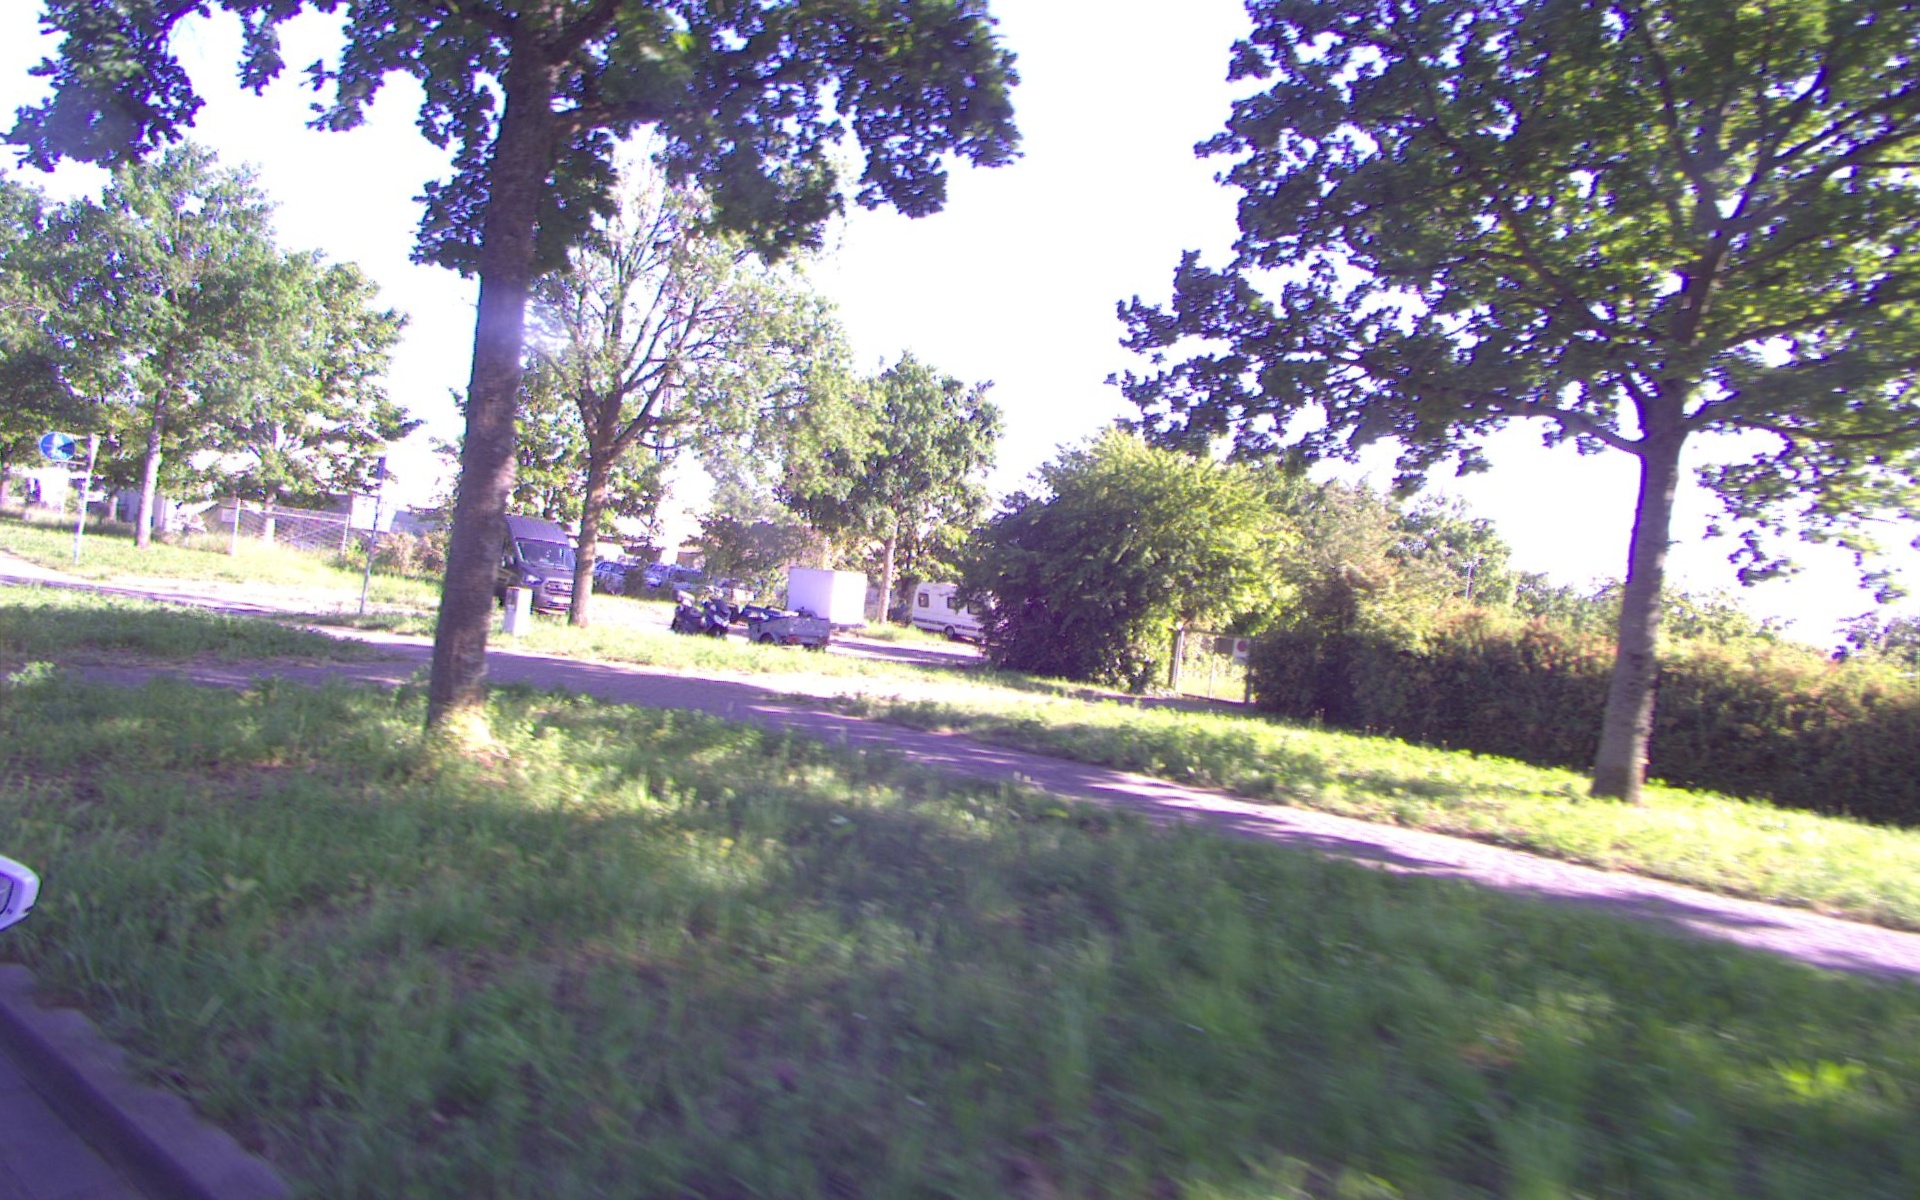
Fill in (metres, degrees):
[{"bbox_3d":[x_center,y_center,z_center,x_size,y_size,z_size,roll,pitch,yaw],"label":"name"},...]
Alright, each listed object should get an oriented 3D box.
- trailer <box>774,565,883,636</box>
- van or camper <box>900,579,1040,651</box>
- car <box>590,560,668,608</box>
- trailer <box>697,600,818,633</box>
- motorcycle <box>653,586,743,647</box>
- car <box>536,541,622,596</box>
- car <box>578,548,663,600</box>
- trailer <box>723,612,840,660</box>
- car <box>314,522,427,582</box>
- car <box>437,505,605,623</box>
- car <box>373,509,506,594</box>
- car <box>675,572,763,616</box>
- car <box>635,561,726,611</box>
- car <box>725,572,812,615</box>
[{"bbox_3d":[-5.230,0.008,39.766,3.738,2.336,2.185,7,0,43],"label":"trailer"},{"bbox_3d":[0.369,0.655,47.559,6.686,2.607,2.176,7,0,43],"label":"van or camper"},{"bbox_3d":[-14.463,-0.725,43.828,1.826,1.660,3.957,7,0,-39],"label":"car"},{"bbox_3d":[-7.682,0.604,37.920,2.222,0.659,4.760,7,-1,-45],"label":"trailer"},{"bbox_3d":[-5.850,0.349,22.354,2.375,1.245,0.661,1,-3,42],"label":"motorcycle"},{"bbox_3d":[-20.428,-1.716,53.876,4.942,2.087,2.082,10,1,42],"label":"car"},{"bbox_3d":[-18.828,-1.465,55.694,4.942,2.087,2.082,10,1,42],"label":"car"},{"bbox_3d":[-3.903,0.786,22.001,2.028,0.878,1.576,1,-4,42],"label":"trailer"},{"bbox_3d":[-21.526,-1.750,36.727,3.536,1.685,2.008,7,0,30],"label":"car"},{"bbox_3d":[-13.103,-1.142,29.794,5.887,2.597,2.082,10,1,42],"label":"car"},{"bbox_3d":[-20.175,-1.880,38.960,4.769,2.676,2.163,7,1,30],"label":"car"},{"bbox_3d":[-11.614,-0.283,48.402,3.940,1.612,1.993,7,0,38],"label":"car"},{"bbox_3d":[-12.979,-0.657,46.618,3.940,1.846,1.992,7,0,38],"label":"car"},{"bbox_3d":[-9.474,-0.335,49.713,3.940,1.612,1.993,7,0,38],"label":"car"}]
